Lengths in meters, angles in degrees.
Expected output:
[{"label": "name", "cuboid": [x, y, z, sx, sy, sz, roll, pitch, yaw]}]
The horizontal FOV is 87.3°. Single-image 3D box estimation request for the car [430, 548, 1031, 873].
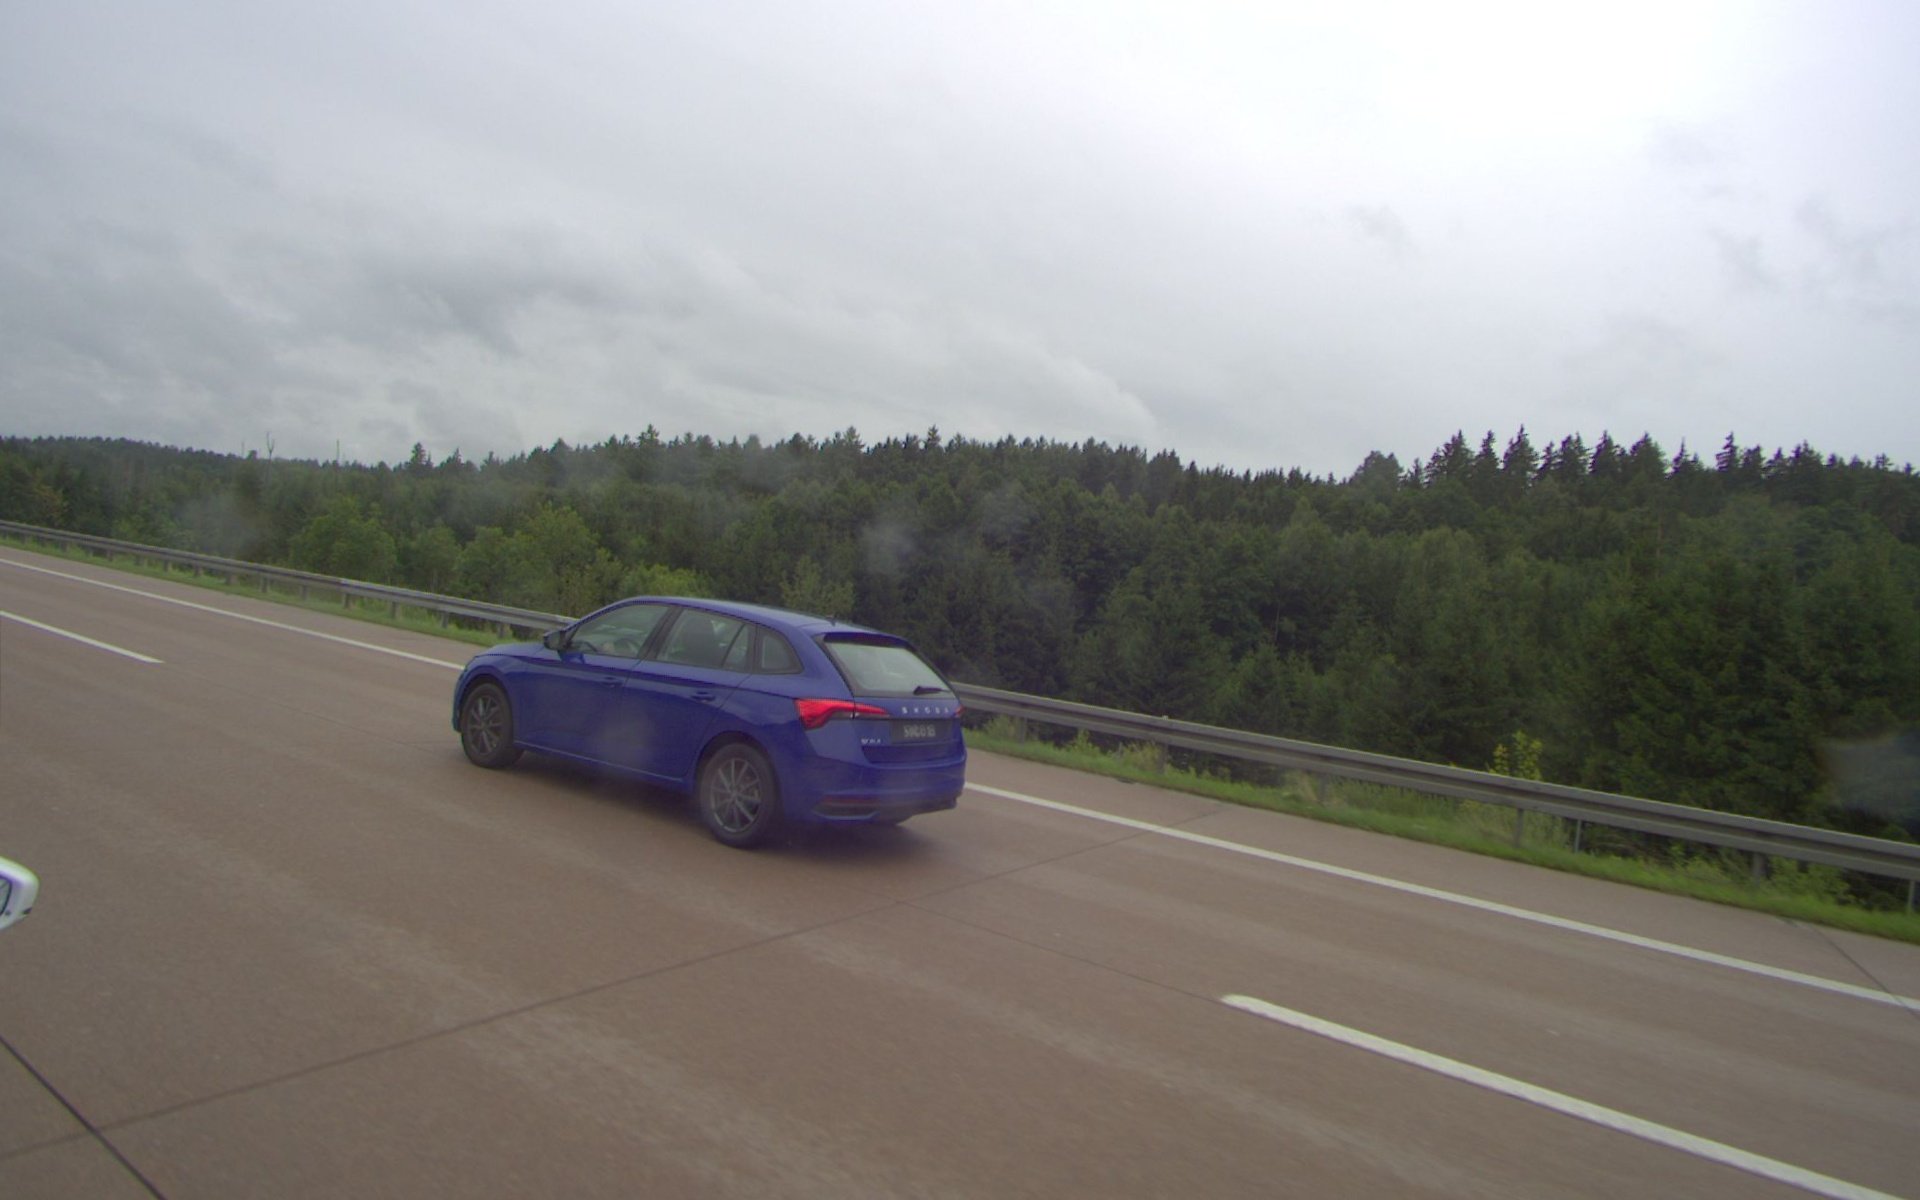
[{"label": "car", "cuboid": [-1.768, 0.640, 7.352, 4.078, 1.582, 1.775, 5, -3, 32]}]
